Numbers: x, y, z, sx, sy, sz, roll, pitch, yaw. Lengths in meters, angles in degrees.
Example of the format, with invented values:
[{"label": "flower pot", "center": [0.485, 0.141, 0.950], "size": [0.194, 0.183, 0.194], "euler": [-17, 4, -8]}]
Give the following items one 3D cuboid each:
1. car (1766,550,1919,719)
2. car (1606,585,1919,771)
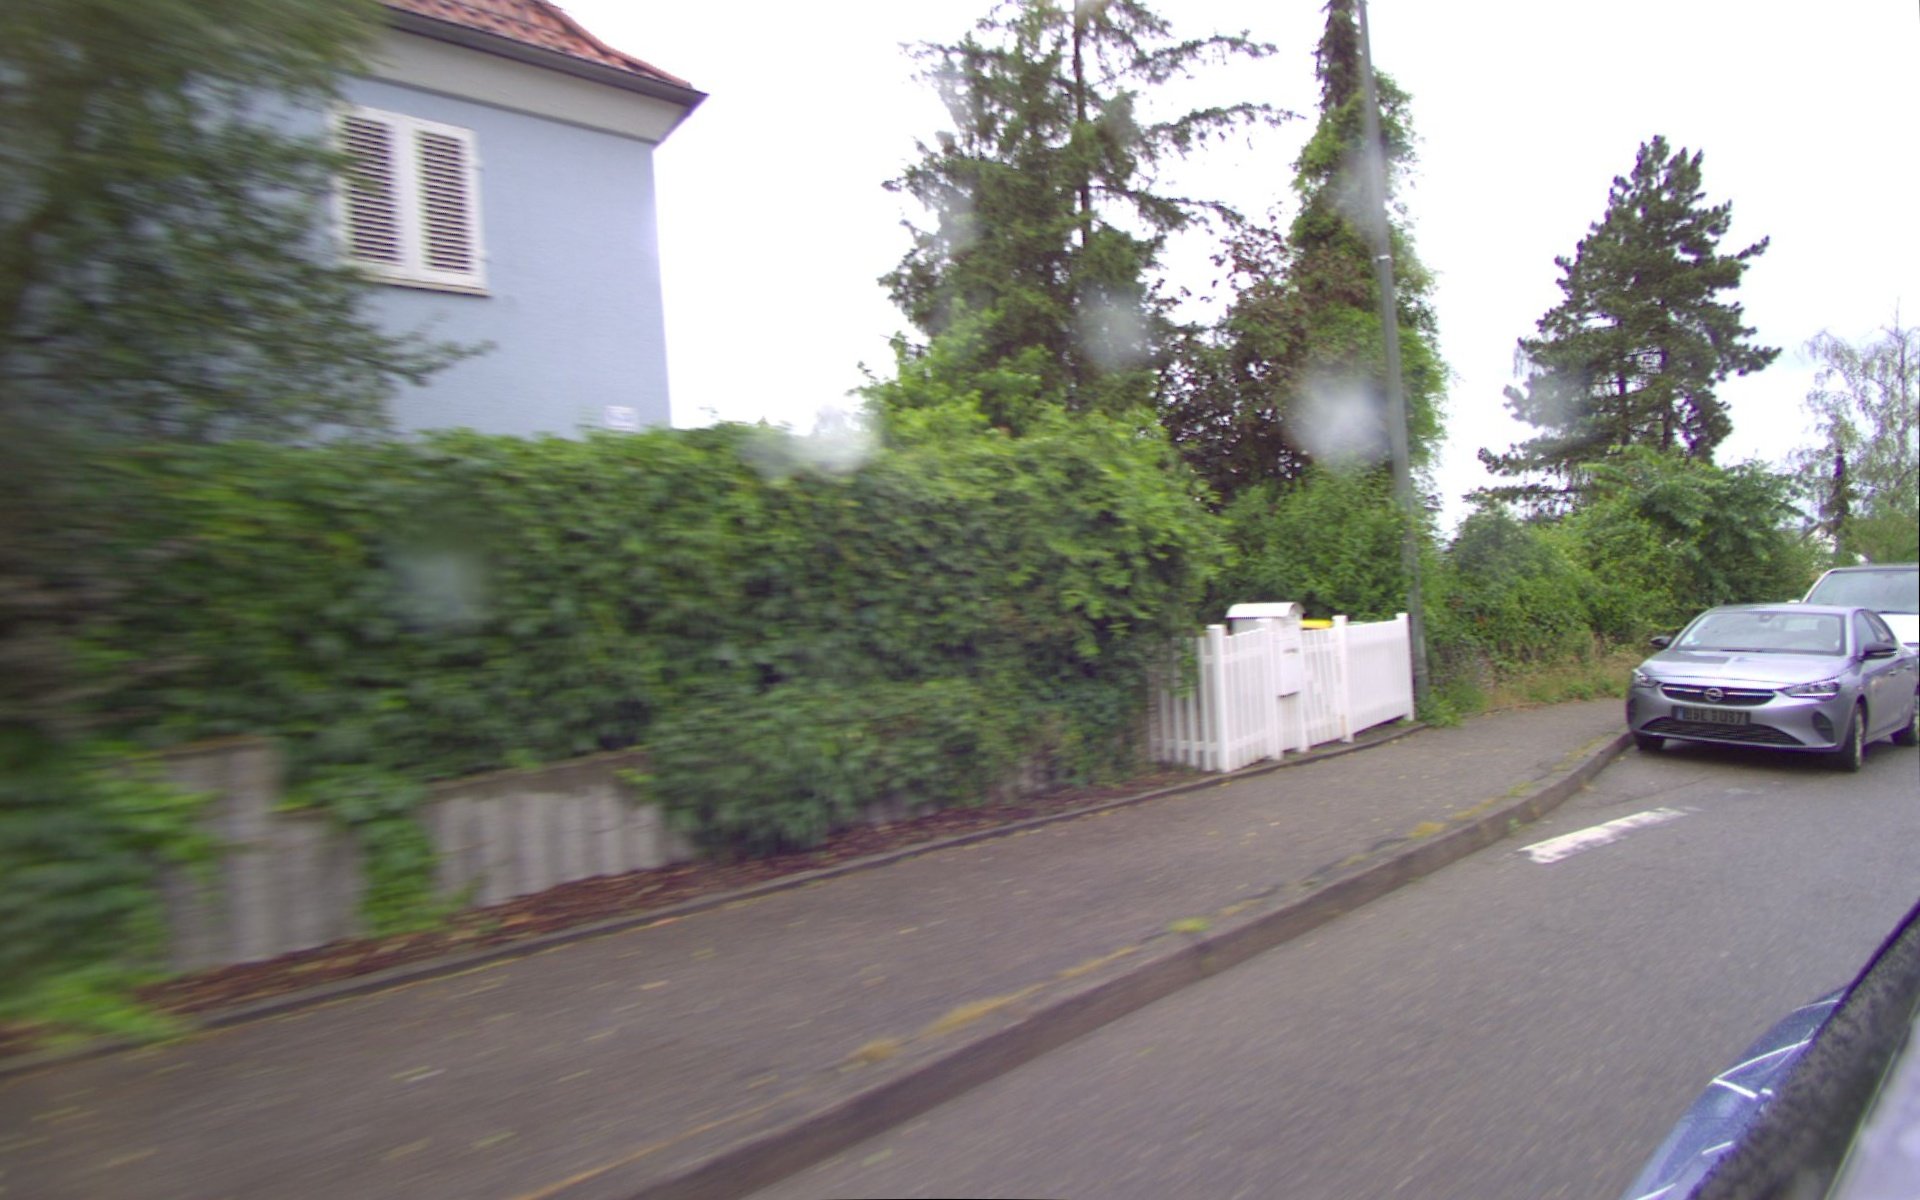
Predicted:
[{"label": "car", "center": [12.954, 0.389, 13.393], "size": [4.977, 1.945, 1.868], "euler": [0, 0, -30]}, {"label": "car", "center": [8.092, 0.614, 9.890], "size": [3.982, 1.475, 1.690], "euler": [0, 0, -37]}]
